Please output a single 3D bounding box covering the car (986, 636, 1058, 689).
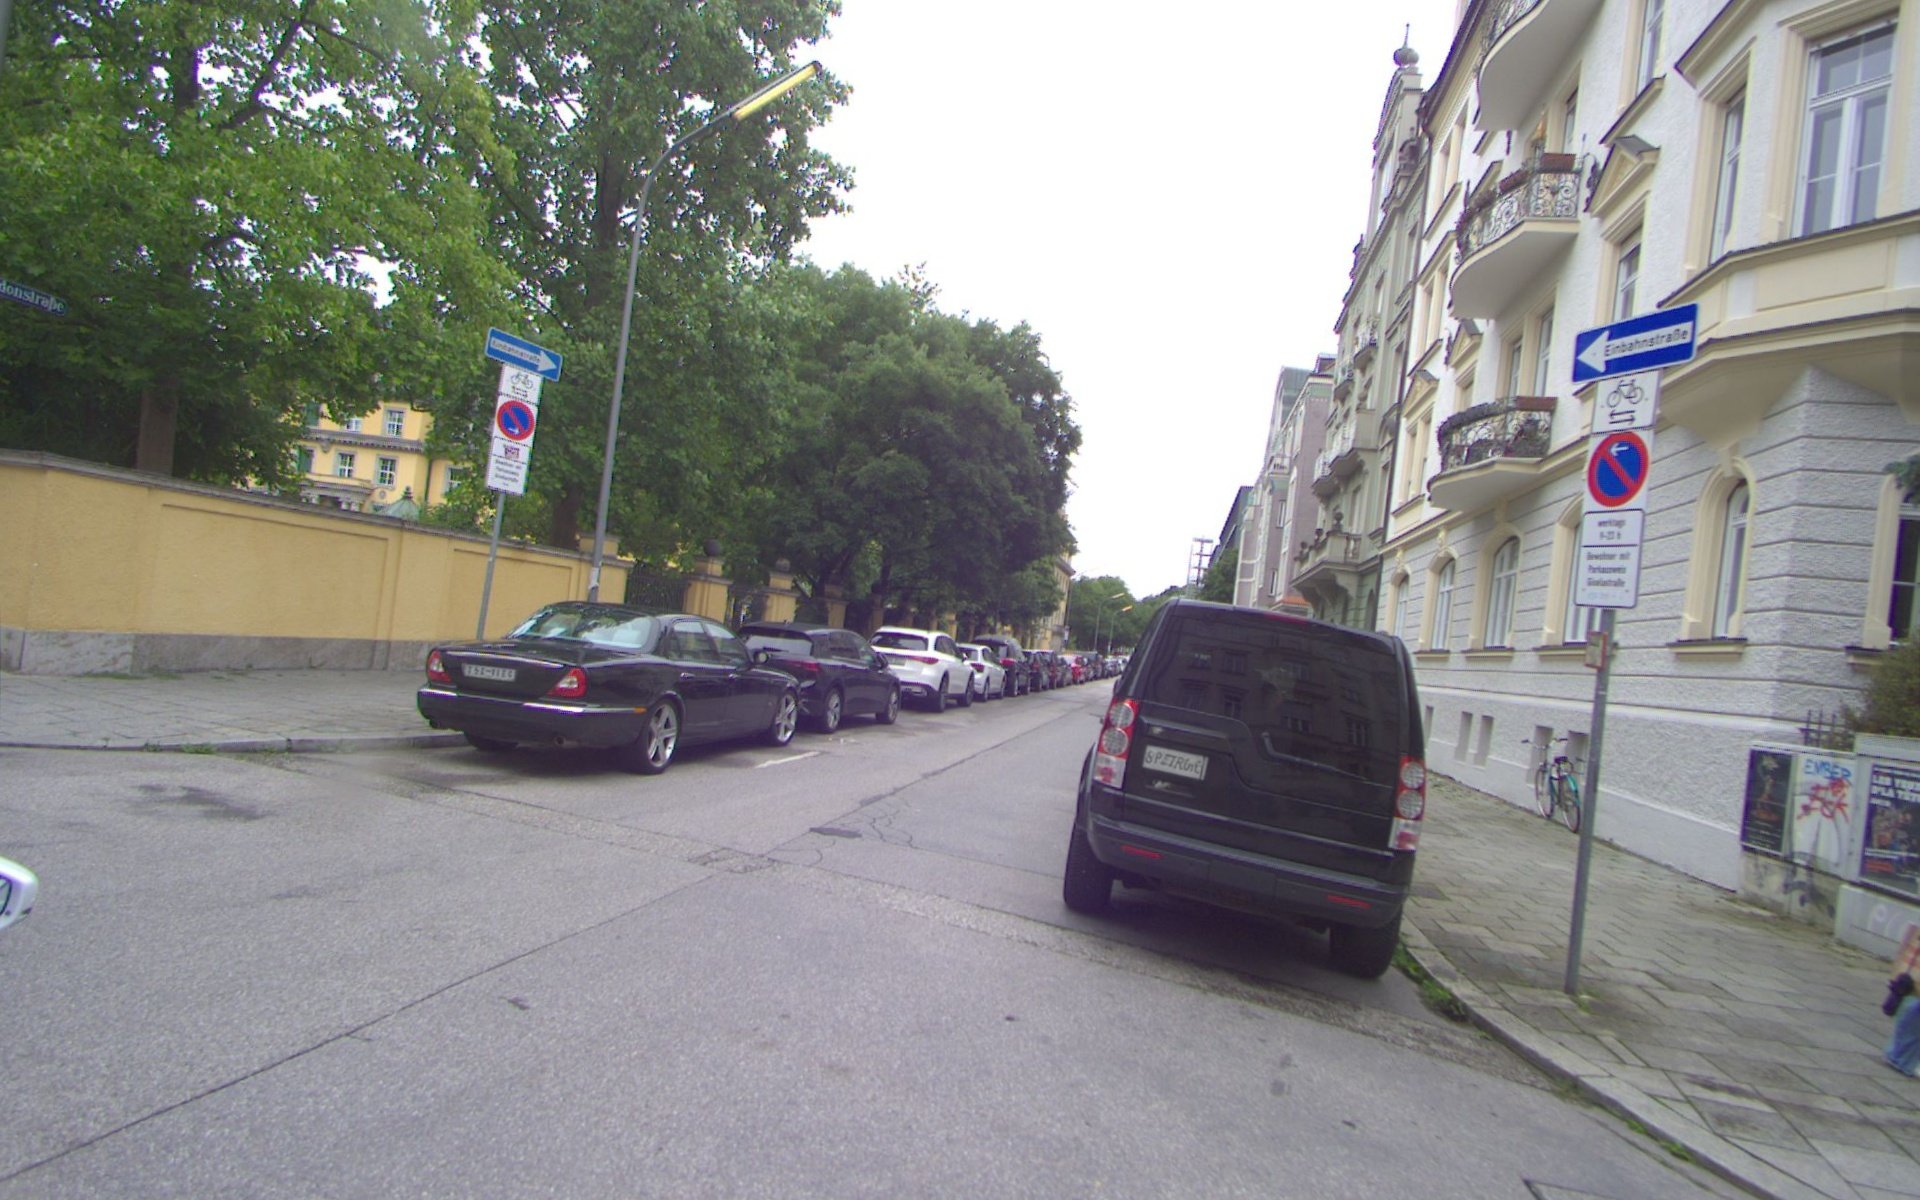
[{"bbox_3d":[2.398,2.340,37.842,1.962,1.640,4.614,6,-2,11],"label":"car"}]

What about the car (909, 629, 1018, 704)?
[{"bbox_3d":[0.209,1.793,27.311,1.962,1.640,4.614,6,-2,11],"label":"car"}]

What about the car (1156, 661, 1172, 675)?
[{"bbox_3d":[28.702,9.514,141.646,1.962,1.639,4.614,7,-2,11],"label":"car"}]

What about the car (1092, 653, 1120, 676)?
[{"bbox_3d":[12.332,5.433,84.880,1.962,1.640,4.614,6,-2,11],"label":"car"}]

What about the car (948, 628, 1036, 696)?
[{"bbox_3d":[1.121,1.965,32.106,1.972,1.798,4.389,6,-2,11],"label":"car"}]

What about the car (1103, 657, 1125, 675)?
[{"bbox_3d":[16.069,6.861,104.980,1.962,1.640,4.614,6,-2,11],"label":"car"}]

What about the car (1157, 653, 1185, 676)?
[{"bbox_3d":[17.342,5.290,82.812,1.962,1.640,4.614,6,-2,11],"label":"car"}]

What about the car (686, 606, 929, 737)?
[{"bbox_3d":[-2.105,1.080,15.439,1.886,1.499,4.613,6,-2,15],"label":"car"}]

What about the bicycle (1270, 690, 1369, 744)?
[{"bbox_3d":[10.677,3.468,30.098,2.460,1.282,2.477,4,-3,14],"label":"bicycle"}]

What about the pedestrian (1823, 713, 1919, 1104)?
[{"bbox_3d":[4.626,1.405,4.564,0.676,1.649,0.709,6,1,12],"label":"pedestrian"}]

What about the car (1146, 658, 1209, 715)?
[{"bbox_3d":[8.099,3.141,37.328,1.927,1.669,4.255,9,-1,14],"label":"car"}]

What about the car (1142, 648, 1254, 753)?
[{"bbox_3d":[5.203,2.096,22.024,1.927,1.774,4.255,9,-1,14],"label":"car"}]

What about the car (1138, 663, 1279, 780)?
[{"bbox_3d":[4.303,2.001,17.580,1.927,1.458,4.116,9,-1,14],"label":"car"}]

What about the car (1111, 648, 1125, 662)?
[{"bbox_3d":[24.508,8.498,155.756,1.875,1.890,4.614,6,-2,11],"label":"car"}]

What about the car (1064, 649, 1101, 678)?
[{"bbox_3d":[8.235,4.230,67.264,1.962,1.640,4.614,6,-2,11],"label":"car"}]

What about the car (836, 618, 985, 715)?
[{"bbox_3d":[-0.914,1.416,21.673,1.962,1.640,4.614,6,-2,12],"label":"car"}]

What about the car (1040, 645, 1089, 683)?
[{"bbox_3d":[5.438,3.267,51.632,1.962,1.640,4.614,6,-2,11],"label":"car"}]

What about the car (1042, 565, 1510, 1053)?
[{"bbox_3d":[1.939,1.059,6.979,1.867,1.973,4.548,9,-1,13],"label":"car"}]

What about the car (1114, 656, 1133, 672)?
[{"bbox_3d":[19.355,7.560,119.124,1.962,1.639,4.614,7,-2,11],"label":"car"}]

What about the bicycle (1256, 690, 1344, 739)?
[{"bbox_3d":[11.195,3.753,33.283,2.460,1.282,2.477,4,-3,14],"label":"bicycle"}]

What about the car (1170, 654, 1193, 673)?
[{"bbox_3d":[22.091,6.303,100.523,1.962,1.640,4.614,6,-2,11],"label":"car"}]

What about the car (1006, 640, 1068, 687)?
[{"bbox_3d":[3.314,2.677,42.669,1.962,1.640,4.614,6,-2,11],"label":"car"}]

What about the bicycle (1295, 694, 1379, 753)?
[{"bbox_3d":[9.973,3.247,26.739,1.723,1.282,2.477,4,-3,14],"label":"bicycle"}]

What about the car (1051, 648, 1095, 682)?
[{"bbox_3d":[6.429,3.651,56.968,1.962,1.640,4.614,6,-2,11],"label":"car"}]

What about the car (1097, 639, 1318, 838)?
[{"bbox_3d":[2.939,1.479,12.130,1.927,1.669,4.255,9,-1,14],"label":"car"}]

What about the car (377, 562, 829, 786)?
[{"bbox_3d":[-3.111,0.709,10.168,1.830,1.499,4.935,7,-2,13],"label":"car"}]

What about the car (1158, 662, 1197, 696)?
[{"bbox_3d":[12.492,4.509,57.965,1.962,1.640,4.614,6,-2,11],"label":"car"}]

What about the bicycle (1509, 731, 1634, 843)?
[{"bbox_3d":[7.929,2.383,13.168,0.528,1.117,2.417,7,-2,13],"label":"bicycle"}]
